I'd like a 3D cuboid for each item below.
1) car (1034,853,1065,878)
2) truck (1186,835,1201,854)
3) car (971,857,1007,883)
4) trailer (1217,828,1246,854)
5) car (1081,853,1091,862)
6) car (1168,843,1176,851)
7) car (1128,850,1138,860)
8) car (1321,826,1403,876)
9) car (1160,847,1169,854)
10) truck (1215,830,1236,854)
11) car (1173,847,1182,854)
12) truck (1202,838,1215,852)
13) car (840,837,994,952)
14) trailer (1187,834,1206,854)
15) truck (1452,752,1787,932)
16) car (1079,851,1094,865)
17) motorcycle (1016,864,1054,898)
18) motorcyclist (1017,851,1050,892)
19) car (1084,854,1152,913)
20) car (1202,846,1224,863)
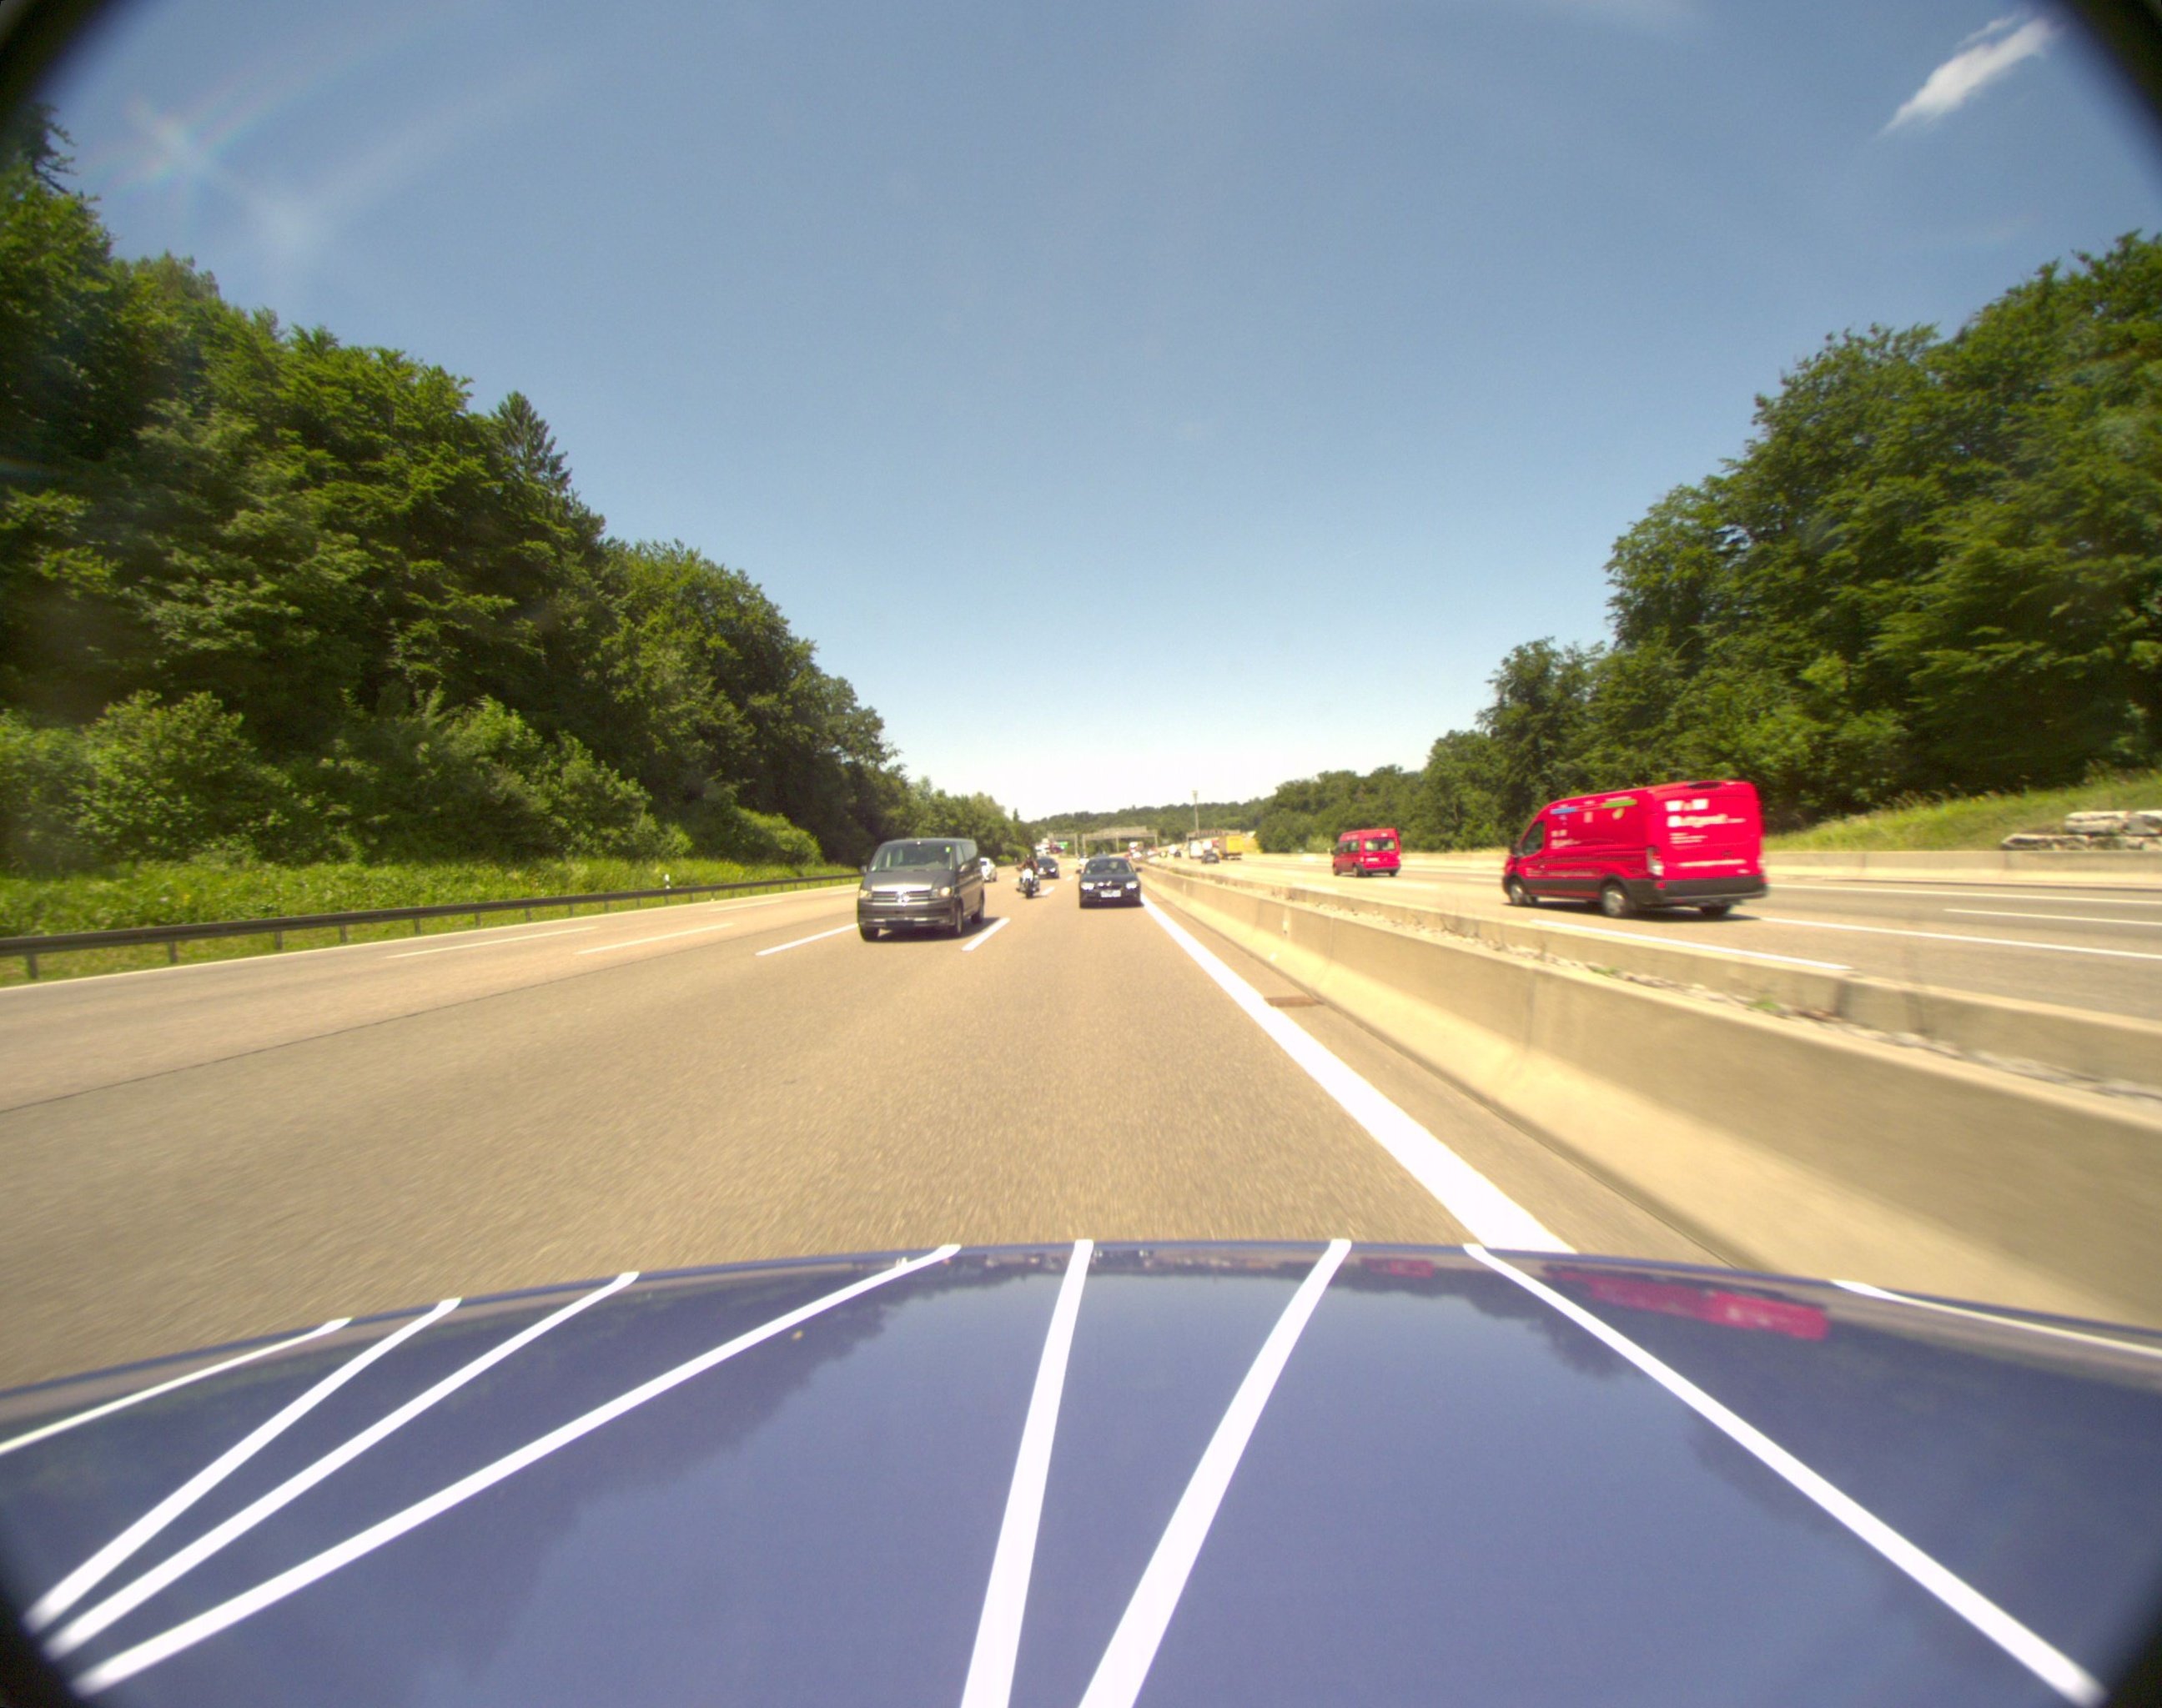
[{"bbox_3d":[-2.079,0.758,51.210,1.760,1.431,3.999,-2,2,2],"label":"car"},{"bbox_3d":[24.141,-2.076,162.812,2.536,3.917,6.802,-2,0,4],"label":"truck"},{"bbox_3d":[-5.802,0.968,48.290,1.754,1.510,4.483,-2,0,-1],"label":"car"},{"bbox_3d":[24.991,-2.115,126.916,2.729,3.981,13.727,-2,0,3],"label":"trailer"},{"bbox_3d":[1.141,0.761,179.739,1.998,2.001,4.001,-3,-1,3],"label":"car"},{"bbox_3d":[29.645,-2.235,246.841,2.102,2.673,6.310,-3,0,3],"label":"car"},{"bbox_3d":[11.425,0.155,167.317,1.998,2.002,4.000,-3,0,3],"label":"car"},{"bbox_3d":[14.148,-0.149,38.672,1.998,2.273,5.803,-3,0,1],"label":"car"},{"bbox_3d":[21.200,-0.801,193.054,1.998,1.695,4.954,-2,0,5],"label":"car"},{"bbox_3d":[25.389,-2.127,133.529,2.756,3.994,6.753,-2,0,3],"label":"truck"},{"bbox_3d":[23.369,-0.820,184.114,1.724,1.634,4.061,-2,0,5],"label":"car"},{"bbox_3d":[34.521,-2.406,206.038,2.615,3.446,9.884,-3,1,5],"label":"truck"},{"bbox_3d":[-3.245,0.717,16.213,1.967,2.022,5.083,-2,0,2],"label":"car"},{"bbox_3d":[23.809,-2.002,157.163,2.544,3.858,11.697,-2,0,3],"label":"trailer"},{"bbox_3d":[10.832,-0.238,16.362,2.115,2.959,7.013,-3,1,-1],"label":"truck"},{"bbox_3d":[0.792,0.596,109.679,1.729,1.522,3.739,10,4,1],"label":"car"},{"bbox_3d":[-1.683,0.970,28.078,0.536,1.129,2.439,-1,1,17],"label":"motorcycle"},{"bbox_3d":[-1.723,0.638,27.885,0.854,1.419,1.024,-1,2,17],"label":"motorcyclist"},{"bbox_3d":[1.095,0.804,22.521,1.769,1.496,4.000,-3,0,3],"label":"car"},{"bbox_3d":[16.448,0.029,95.109,1.998,1.861,5.251,-3,1,3],"label":"car"}]
